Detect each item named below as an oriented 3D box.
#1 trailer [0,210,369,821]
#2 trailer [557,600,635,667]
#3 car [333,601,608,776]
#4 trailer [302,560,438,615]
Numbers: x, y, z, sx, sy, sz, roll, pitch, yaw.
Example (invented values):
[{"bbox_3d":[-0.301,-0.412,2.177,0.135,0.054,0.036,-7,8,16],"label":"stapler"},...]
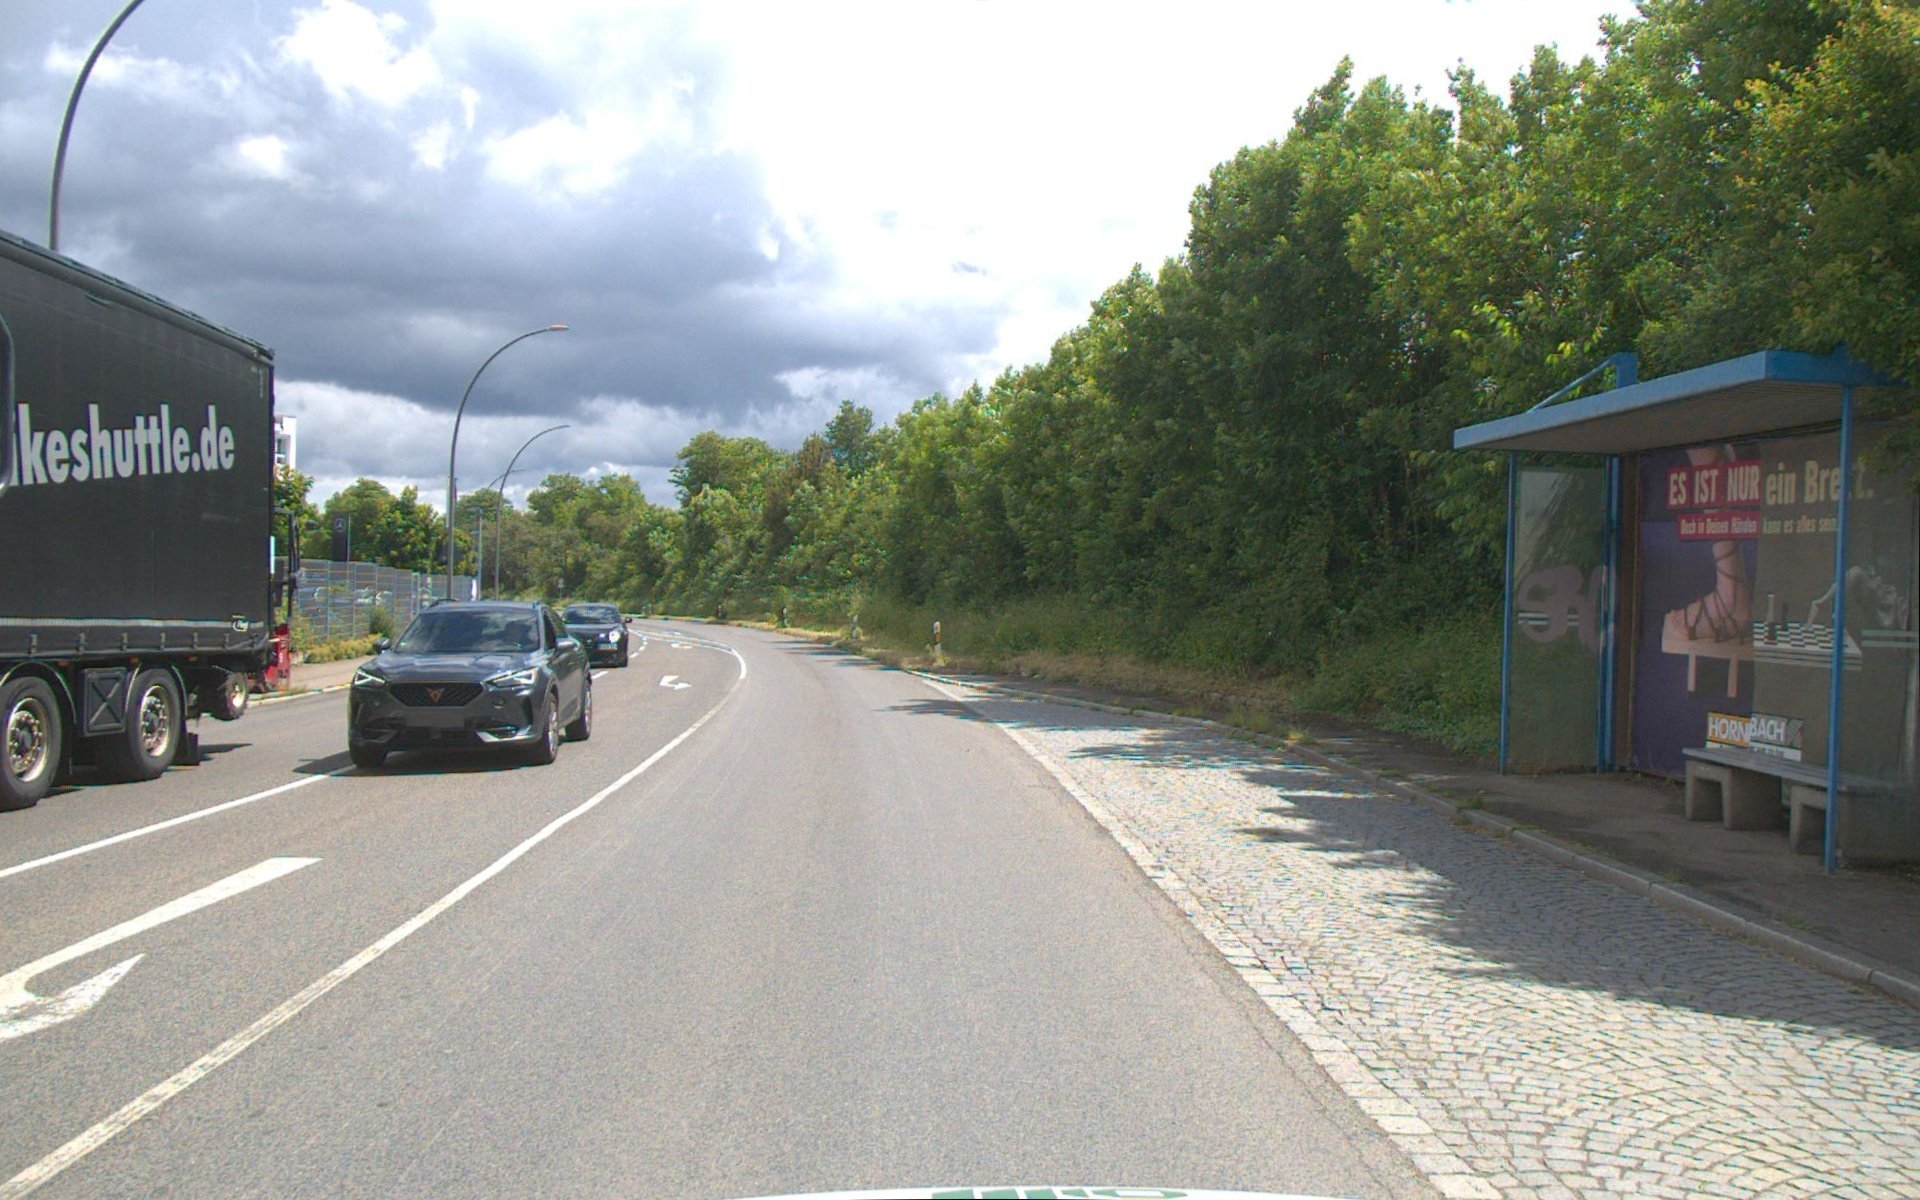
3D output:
[{"bbox_3d":[-7.852,-0.594,10.663,2.742,4.124,15.551,1,0,-1],"label":"trailer"},{"bbox_3d":[-8.423,0.734,38.496,1.617,1.448,3.990,0,0,-10],"label":"trailer"},{"bbox_3d":[-4.676,0.766,16.427,1.804,1.489,4.249,0,0,-5],"label":"car"},{"bbox_3d":[-46.047,-1.039,129.235,9.642,4.165,2.791,-1,1,-35],"label":"trailer"}]
